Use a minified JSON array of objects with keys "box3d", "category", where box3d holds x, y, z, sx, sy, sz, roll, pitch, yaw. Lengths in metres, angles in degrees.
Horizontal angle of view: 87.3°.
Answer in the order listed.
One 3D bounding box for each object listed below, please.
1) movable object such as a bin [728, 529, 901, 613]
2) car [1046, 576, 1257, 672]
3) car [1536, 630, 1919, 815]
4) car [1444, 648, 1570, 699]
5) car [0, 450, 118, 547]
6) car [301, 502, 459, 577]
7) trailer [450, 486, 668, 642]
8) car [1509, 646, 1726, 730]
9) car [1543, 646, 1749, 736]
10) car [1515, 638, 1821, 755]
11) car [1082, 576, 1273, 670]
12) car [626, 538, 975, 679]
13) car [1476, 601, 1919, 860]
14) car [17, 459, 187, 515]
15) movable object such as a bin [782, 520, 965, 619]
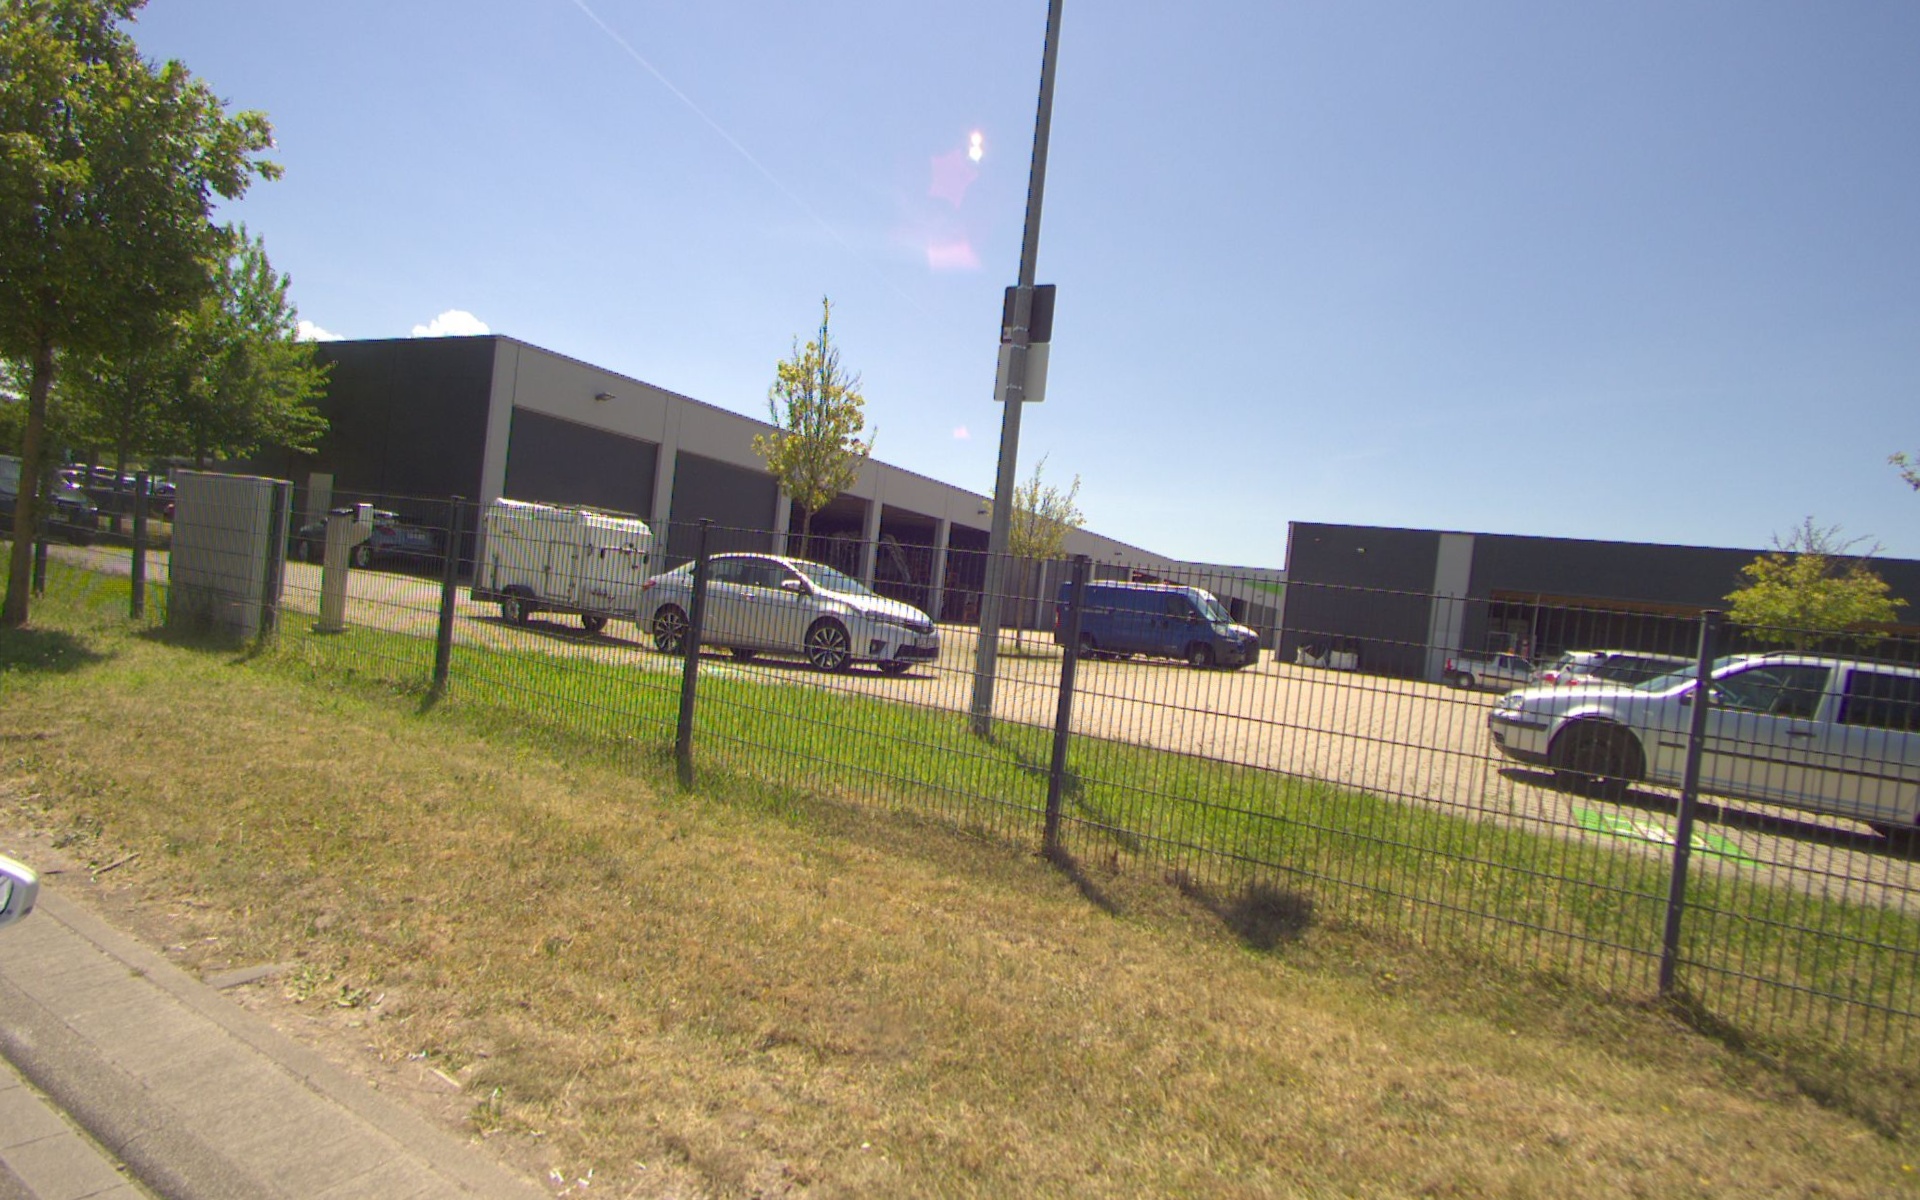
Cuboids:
[{"box3d":[-6.895,-1.361,47.605,7.193,3.032,3.546,7,1,28],"category":"movable object such as a bin"},{"box3d":[5.481,0.657,29.015,5.559,2.291,1.883,4,0,27],"category":"car"},{"box3d":[9.719,1.454,12.368,4.344,1.500,1.792,9,2,28],"category":"car"},{"box3d":[20.669,2.750,38.178,4.029,1.480,1.792,5,0,28],"category":"car"},{"box3d":[-18.067,-2.016,19.116,3.827,1.542,1.739,7,1,27],"category":"car"},{"box3d":[-14.769,-1.549,25.591,3.632,1.425,1.738,8,1,28],"category":"car"},{"box3d":[-6.527,-0.594,16.314,3.209,2.033,1.494,10,3,32],"category":"trailer"},{"box3d":[15.372,2.025,23.796,4.029,1.480,1.792,5,0,28],"category":"car"},{"box3d":[17.352,2.260,25.705,4.029,1.783,1.792,5,0,28],"category":"car"},{"box3d":[12.039,1.590,17.485,4.029,1.480,1.792,5,0,28],"category":"car"},{"box3d":[6.776,0.702,31.568,5.410,2.509,1.883,4,0,27],"category":"car"},{"box3d":[-2.221,0.088,13.808,4.391,1.542,1.884,4,0,27],"category":"car"},{"box3d":[6.987,1.117,8.669,4.344,1.550,1.792,9,2,28],"category":"car"},{"box3d":[-32.297,-4.231,38.014,1.966,1.415,4.445,5,-1,28],"category":"car"},{"box3d":[-4.522,-1.607,51.846,8.517,4.025,3.546,7,1,29],"category":"movable object such as a bin"}]
